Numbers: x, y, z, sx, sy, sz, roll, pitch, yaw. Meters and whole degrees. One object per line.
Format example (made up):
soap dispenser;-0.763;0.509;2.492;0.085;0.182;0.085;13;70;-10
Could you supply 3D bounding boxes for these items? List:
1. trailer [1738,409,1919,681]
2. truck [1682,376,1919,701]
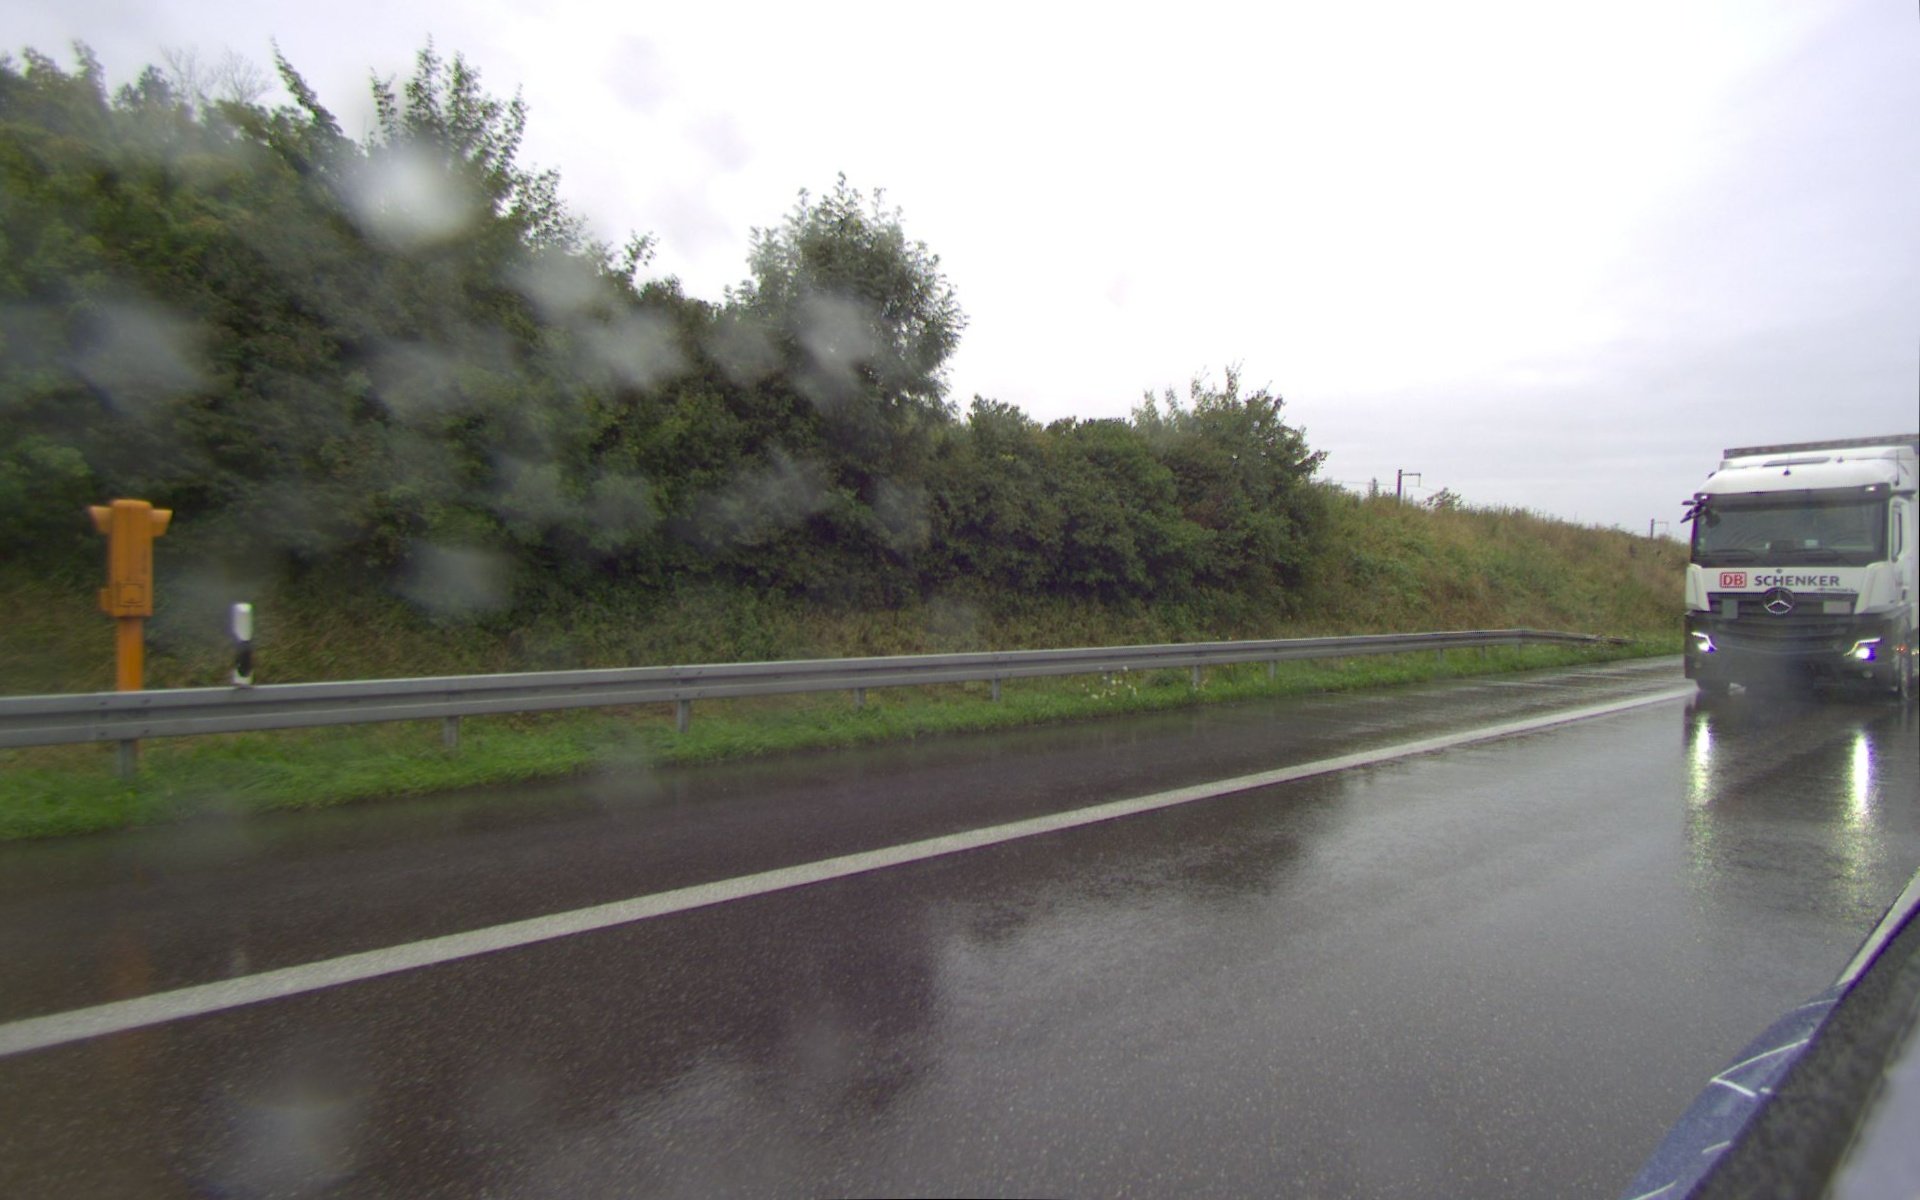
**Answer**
trailer;19.817;-0.937;21.372;13.928;4.302;2.631;-1;1;-41
truck;13.725;-0.850;16.062;4.956;4.307;2.630;0;0;-41
